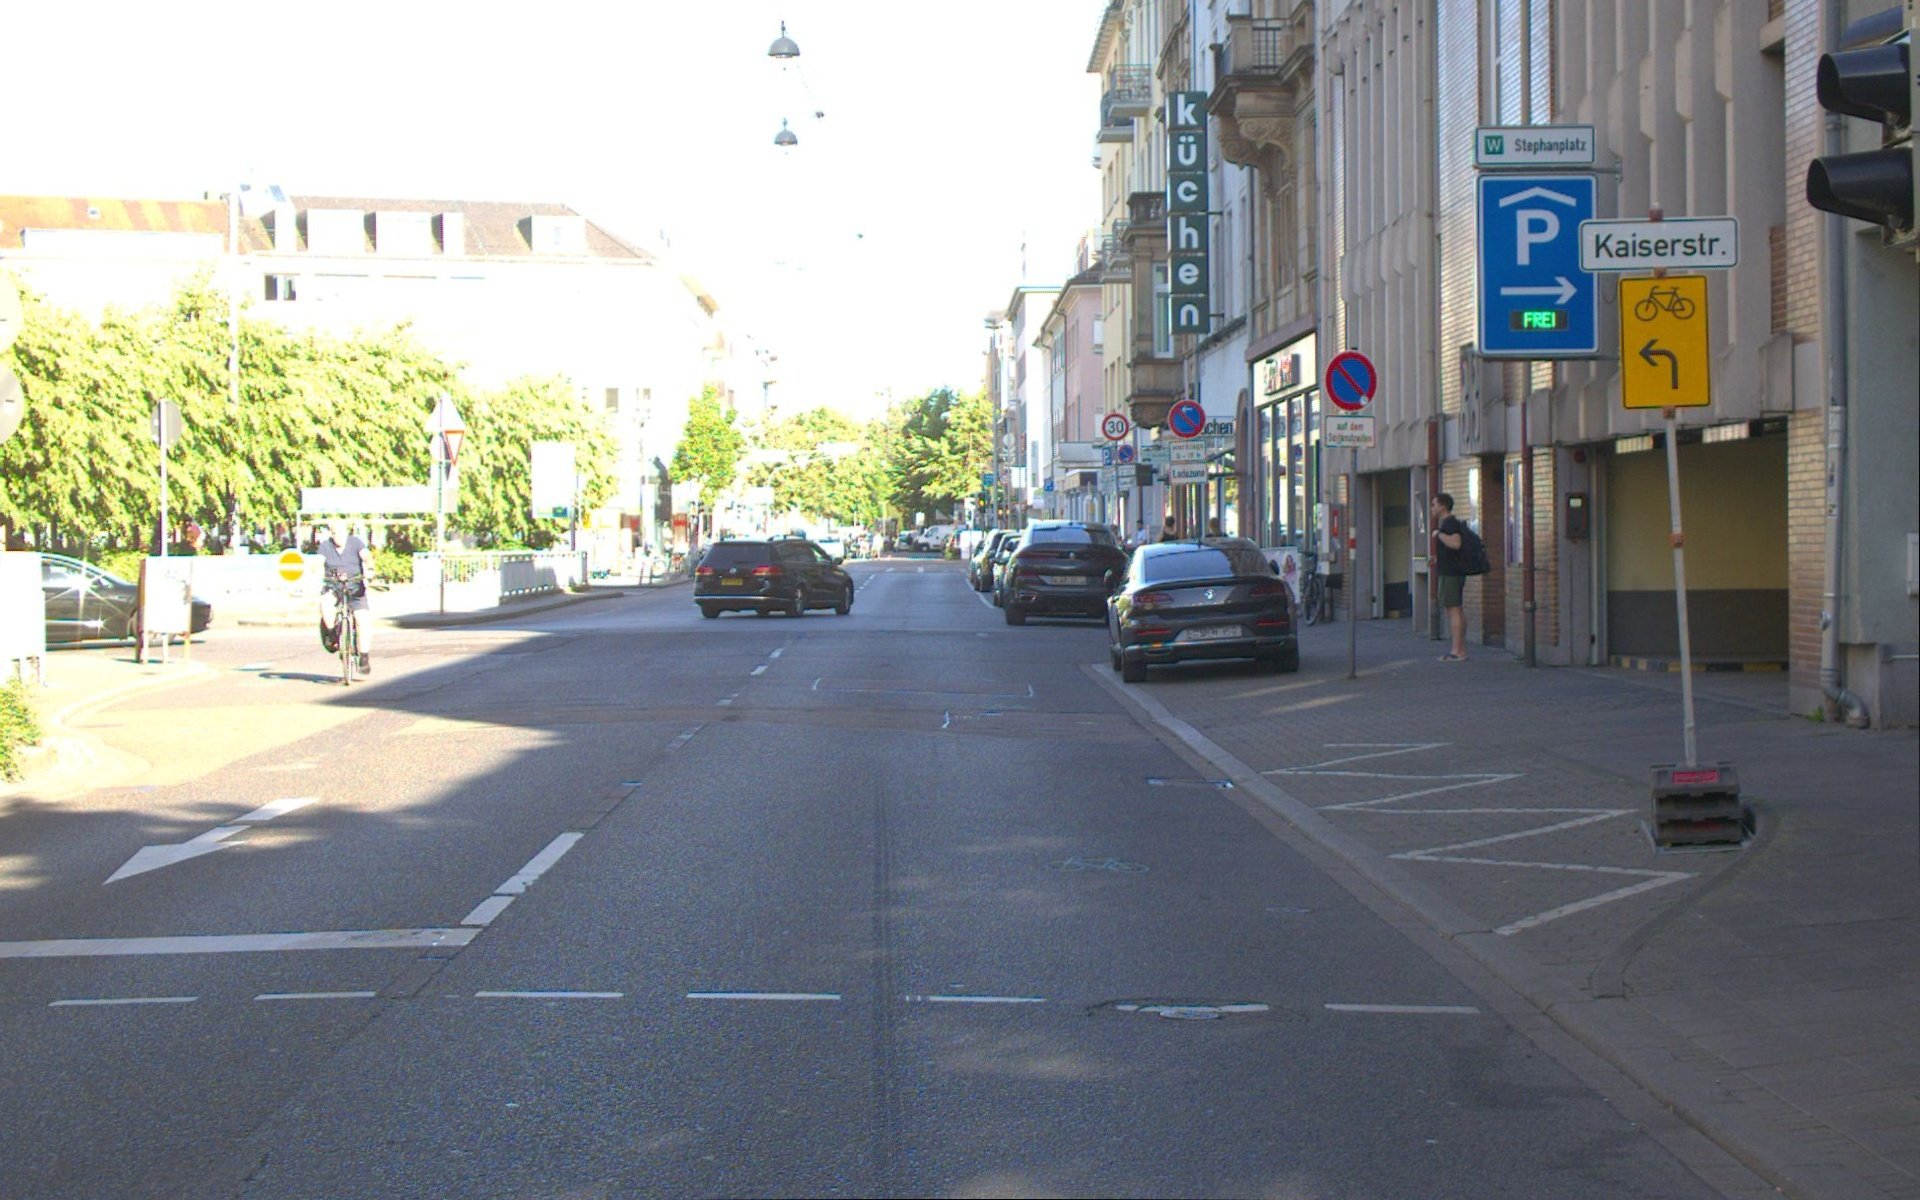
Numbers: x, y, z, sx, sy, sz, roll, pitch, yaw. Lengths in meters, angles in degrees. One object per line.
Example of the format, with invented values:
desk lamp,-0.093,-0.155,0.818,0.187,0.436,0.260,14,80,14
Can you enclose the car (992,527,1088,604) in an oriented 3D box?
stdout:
car,1.673,-0.753,73.473,1.839,1.541,4.229,1,2,-1

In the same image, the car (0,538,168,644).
car,-13.943,-0.133,50.467,4.479,1.475,2.002,-1,1,-13

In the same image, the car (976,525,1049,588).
car,1.386,-1.140,92.080,1.716,1.630,4.085,1,0,-2

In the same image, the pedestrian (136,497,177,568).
pedestrian,-23.617,-1.983,101.082,0.733,2.101,0.966,0,1,22

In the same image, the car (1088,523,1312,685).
car,2.477,-0.014,36.650,1.917,1.473,4.965,-4,1,0

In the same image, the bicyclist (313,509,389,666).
bicyclist,-6.521,-0.144,36.834,0.696,1.647,1.036,-1,1,-6

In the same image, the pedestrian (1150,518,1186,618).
pedestrian,3.654,-0.566,60.468,0.620,1.760,0.518,0,1,2

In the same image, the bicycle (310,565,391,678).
bicycle,-6.515,0.213,36.822,0.705,1.142,1.968,-1,1,-6

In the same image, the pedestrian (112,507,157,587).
pedestrian,-21.994,-1.413,91.628,0.733,2.101,0.966,0,1,22

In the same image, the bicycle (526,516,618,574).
bicycle,-13.650,-1.938,120.975,3.122,2.007,0.908,0,1,9

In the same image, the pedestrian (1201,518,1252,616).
pedestrian,4.672,-0.581,60.285,0.801,1.669,0.589,-2,1,2

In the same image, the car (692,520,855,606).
car,-3.264,-0.683,61.145,1.935,1.482,4.269,0,1,11

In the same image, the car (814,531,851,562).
car,-7.672,-3.221,207.352,1.993,1.765,4.000,1,2,1

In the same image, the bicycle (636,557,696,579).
bicycle,-11.474,-1.252,134.310,2.244,0.880,0.923,0,1,3

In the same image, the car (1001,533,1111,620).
car,1.729,-0.453,63.097,1.839,1.482,4.185,1,2,0

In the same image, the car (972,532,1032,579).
car,1.322,-1.406,109.591,1.792,1.455,3.868,1,0,0

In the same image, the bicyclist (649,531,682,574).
bicyclist,-11.497,-1.867,134.292,1.146,1.680,0.915,0,1,3

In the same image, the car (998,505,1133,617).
car,1.670,-0.671,55.976,1.973,1.719,4.824,1,2,0

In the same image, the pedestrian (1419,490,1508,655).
pedestrian,5.123,-0.287,35.033,0.691,1.630,0.889,-3,1,-1

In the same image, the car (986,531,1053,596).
car,1.477,-0.930,86.210,1.613,1.541,2.855,1,1,1

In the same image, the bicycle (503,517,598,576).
bicycle,-14.050,-1.845,117.982,3.122,2.007,0.908,0,1,9
